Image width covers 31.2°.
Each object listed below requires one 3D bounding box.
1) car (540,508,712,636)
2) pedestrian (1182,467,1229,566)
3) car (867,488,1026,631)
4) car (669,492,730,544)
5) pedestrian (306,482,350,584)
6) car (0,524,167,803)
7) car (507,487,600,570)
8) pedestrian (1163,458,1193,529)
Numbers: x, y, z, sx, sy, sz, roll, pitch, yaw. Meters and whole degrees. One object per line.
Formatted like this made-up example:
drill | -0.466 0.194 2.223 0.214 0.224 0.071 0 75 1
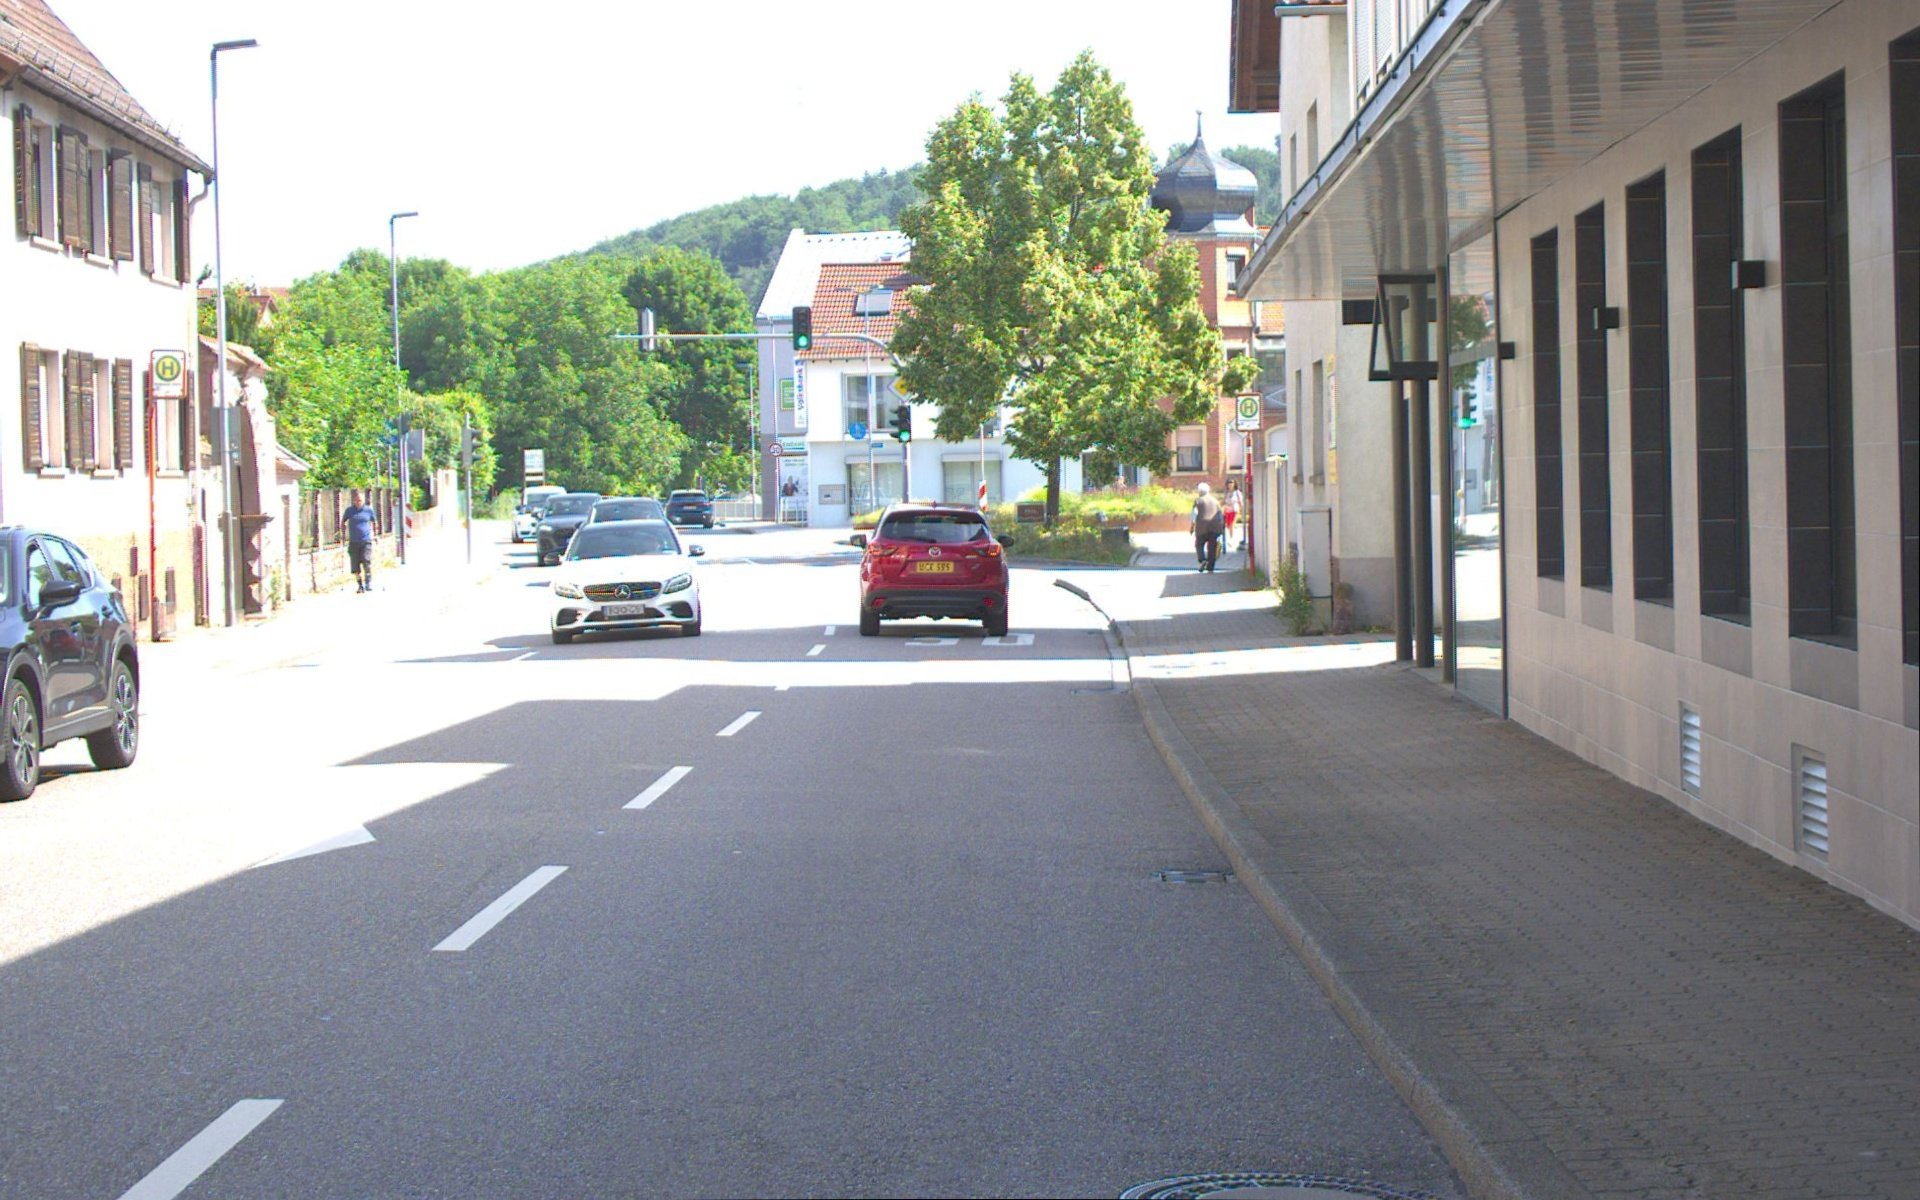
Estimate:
car | -4.221 -0.380 43.561 1.987 1.439 5.102 -2 1 -5
pedestrian | 4.330 -1.473 60.699 0.642 1.701 0.700 -2 -1 -6
car | -0.123 -0.542 43.592 1.859 1.709 4.422 -1 1 2
car | -10.007 -3.129 132.202 1.932 1.788 3.956 -2 0 1
pedestrian | -11.488 -1.214 62.485 0.665 1.818 0.799 -2 -1 -6
car | -6.430 0.366 21.484 1.867 1.584 4.518 -3 1 -1
car | -9.614 -1.675 81.517 1.774 1.778 3.839 -2 0 -1
pedestrian | 5.872 -2.871 92.599 0.642 1.872 0.652 -2 -1 -6
